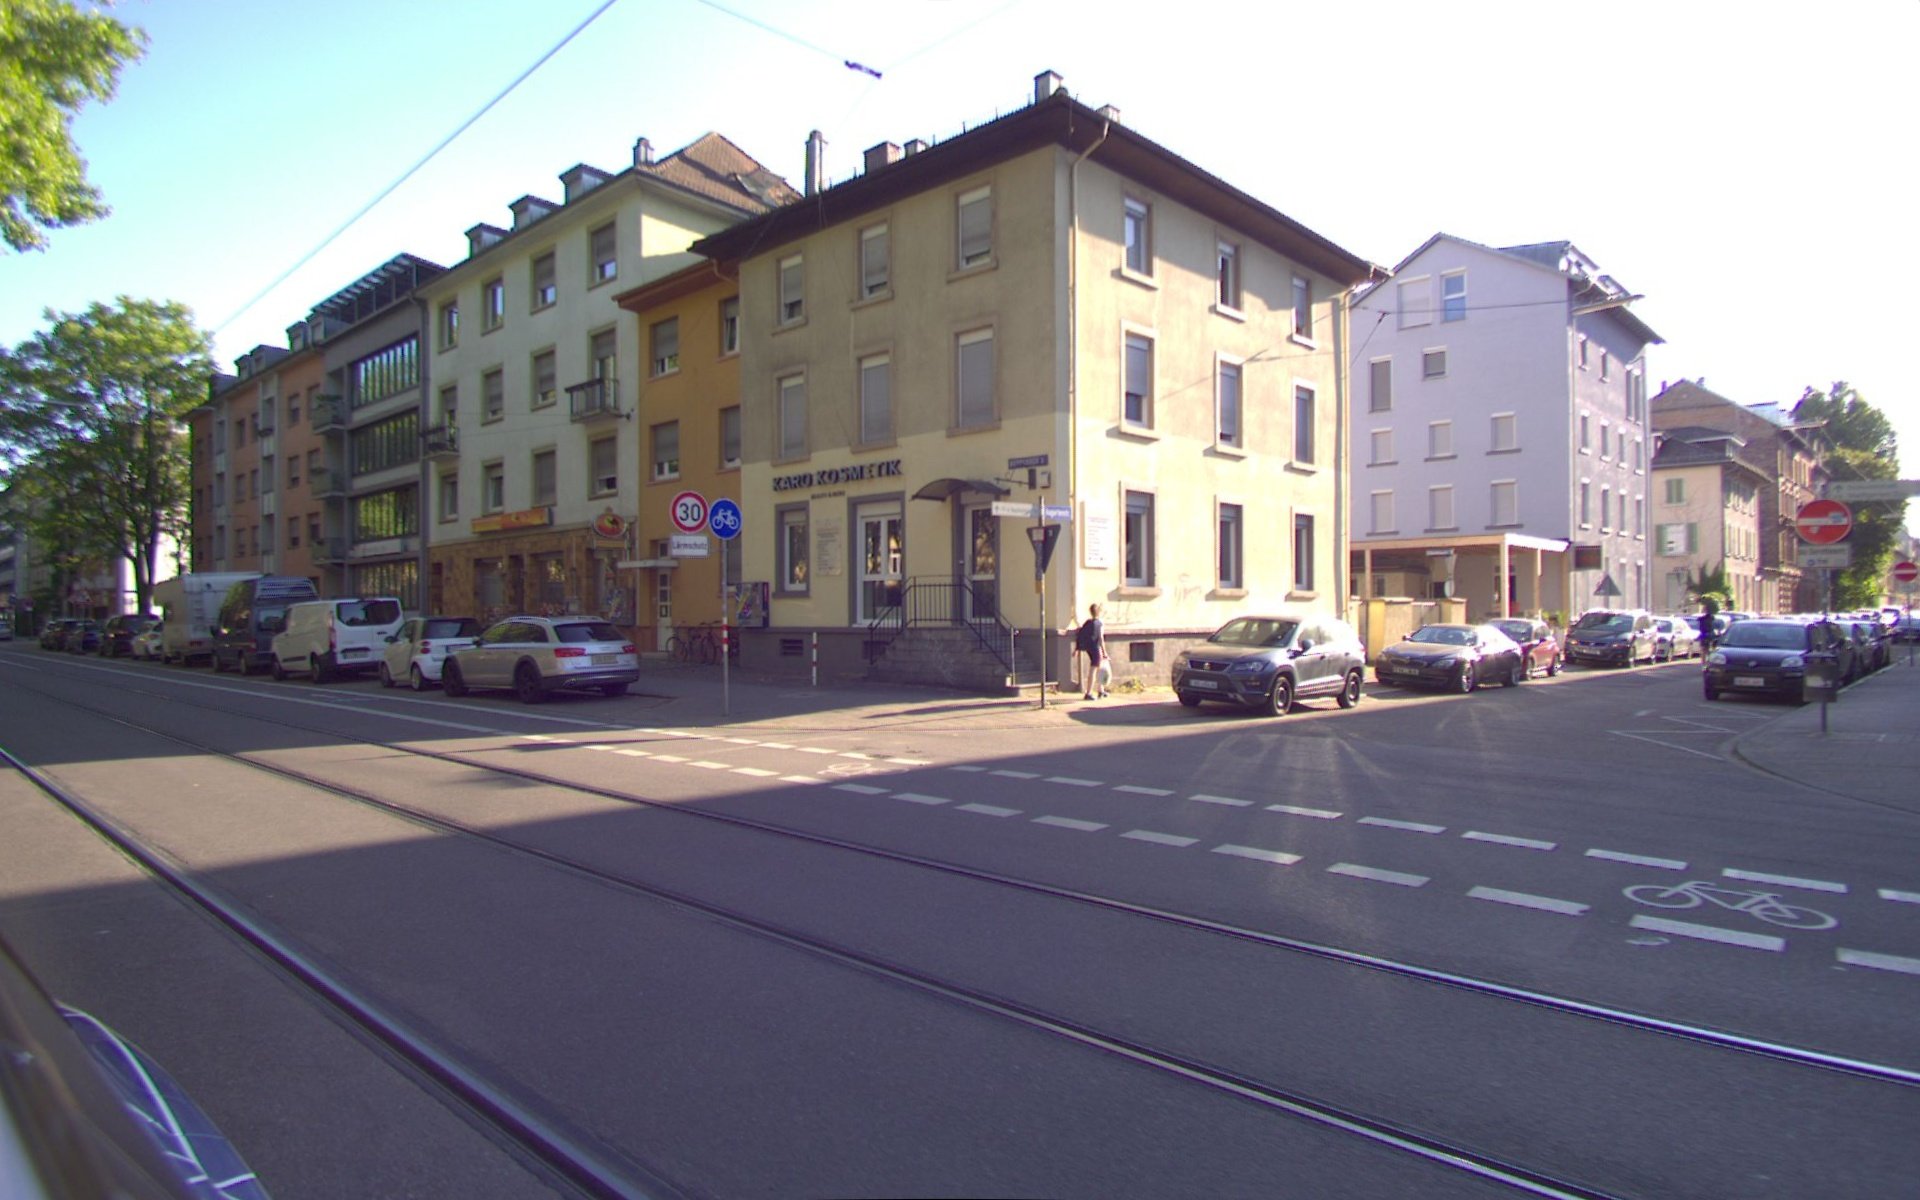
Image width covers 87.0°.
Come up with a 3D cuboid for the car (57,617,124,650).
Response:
[{"bbox_3d":[-41.971,1.595,48.811,4.432,1.482,1.768,-1,0,40],"label":"car"}]

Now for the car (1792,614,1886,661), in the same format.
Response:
[{"bbox_3d":[26.383,1.089,30.334,1.882,1.318,4.016,-1,-2,44],"label":"car"}]

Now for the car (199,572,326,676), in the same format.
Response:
[{"bbox_3d":[-20.538,0.668,29.722,4.545,2.766,1.903,-1,3,42],"label":"car"}]

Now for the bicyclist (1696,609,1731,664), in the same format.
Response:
[{"bbox_3d":[20.182,0.958,27.090,0.647,1.444,0.794,-1,-2,44],"label":"bicyclist"}]

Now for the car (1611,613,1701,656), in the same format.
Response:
[{"bbox_3d":[24.794,1.210,36.000,1.967,1.434,4.016,-1,-2,44],"label":"car"}]

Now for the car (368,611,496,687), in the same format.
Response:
[{"bbox_3d":[-11.521,1.014,22.043,2.882,1.504,1.554,-1,0,42],"label":"car"}]

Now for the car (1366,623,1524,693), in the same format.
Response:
[{"bbox_3d":[10.849,1.215,22.520,1.967,1.400,4.016,-1,-2,44],"label":"car"}]

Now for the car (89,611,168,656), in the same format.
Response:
[{"bbox_3d":[-34.559,1.352,42.032,4.432,1.767,1.768,-1,0,40],"label":"car"}]

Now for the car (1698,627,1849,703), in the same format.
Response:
[{"bbox_3d":[15.655,1.172,19.409,1.882,1.263,4.016,-1,-2,44],"label":"car"}]

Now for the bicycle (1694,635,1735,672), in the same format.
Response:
[{"bbox_3d":[20.238,1.425,27.126,0.647,0.935,1.950,-1,-2,43],"label":"bicycle"}]

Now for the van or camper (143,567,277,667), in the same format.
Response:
[{"bbox_3d":[-25.498,0.539,34.307,5.989,2.999,2.392,-1,2,42],"label":"van or camper"}]

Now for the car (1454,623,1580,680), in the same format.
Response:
[{"bbox_3d":[14.970,1.322,27.113,1.967,1.399,4.016,-1,-2,44],"label":"car"}]

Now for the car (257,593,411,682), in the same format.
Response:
[{"bbox_3d":[-16.039,0.899,25.821,4.937,2.062,1.903,-1,0,40],"label":"car"}]

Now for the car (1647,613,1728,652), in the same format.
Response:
[{"bbox_3d":[28.312,1.221,39.355,1.967,1.434,4.016,-1,-2,44],"label":"car"}]

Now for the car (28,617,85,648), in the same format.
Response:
[{"bbox_3d":[-49.839,1.751,55.813,4.095,1.607,1.768,-1,0,40],"label":"car"}]

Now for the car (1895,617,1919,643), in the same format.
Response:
[{"bbox_3d":[49.320,1.530,51.939,1.882,1.318,4.016,-1,-2,44],"label":"car"}]

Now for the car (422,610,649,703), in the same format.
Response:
[{"bbox_3d":[-8.031,0.968,18.911,4.935,1.504,1.754,-1,0,39],"label":"car"}]

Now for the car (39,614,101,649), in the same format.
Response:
[{"bbox_3d":[-45.731,1.592,51.954,4.432,1.682,1.768,-1,0,40],"label":"car"}]

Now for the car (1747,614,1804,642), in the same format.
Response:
[{"bbox_3d":[43.466,1.469,53.932,1.967,1.434,4.016,-1,-2,44],"label":"car"}]

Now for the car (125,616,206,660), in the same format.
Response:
[{"bbox_3d":[-30.147,1.408,38.376,3.471,1.526,1.768,-1,0,40],"label":"car"}]

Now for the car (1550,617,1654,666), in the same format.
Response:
[{"bbox_3d":[20.263,1.264,31.873,1.967,1.434,4.016,-1,-2,44],"label":"car"}]

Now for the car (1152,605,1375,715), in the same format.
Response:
[{"bbox_3d":[5.212,0.925,17.119,1.967,1.630,4.016,-1,-2,44],"label":"car"}]

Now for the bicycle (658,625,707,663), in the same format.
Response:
[{"bbox_3d":[-7.064,1.103,25.696,1.646,0.935,0.357,-1,-1,42],"label":"bicycle"}]

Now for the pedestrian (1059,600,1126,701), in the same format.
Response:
[{"bbox_3d":[2.205,0.820,16.825,0.753,1.599,0.764,3,2,43],"label":"pedestrian"}]

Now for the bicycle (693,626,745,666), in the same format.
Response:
[{"bbox_3d":[-5.865,1.113,24.611,1.646,0.935,0.357,-1,-1,42],"label":"bicycle"}]
